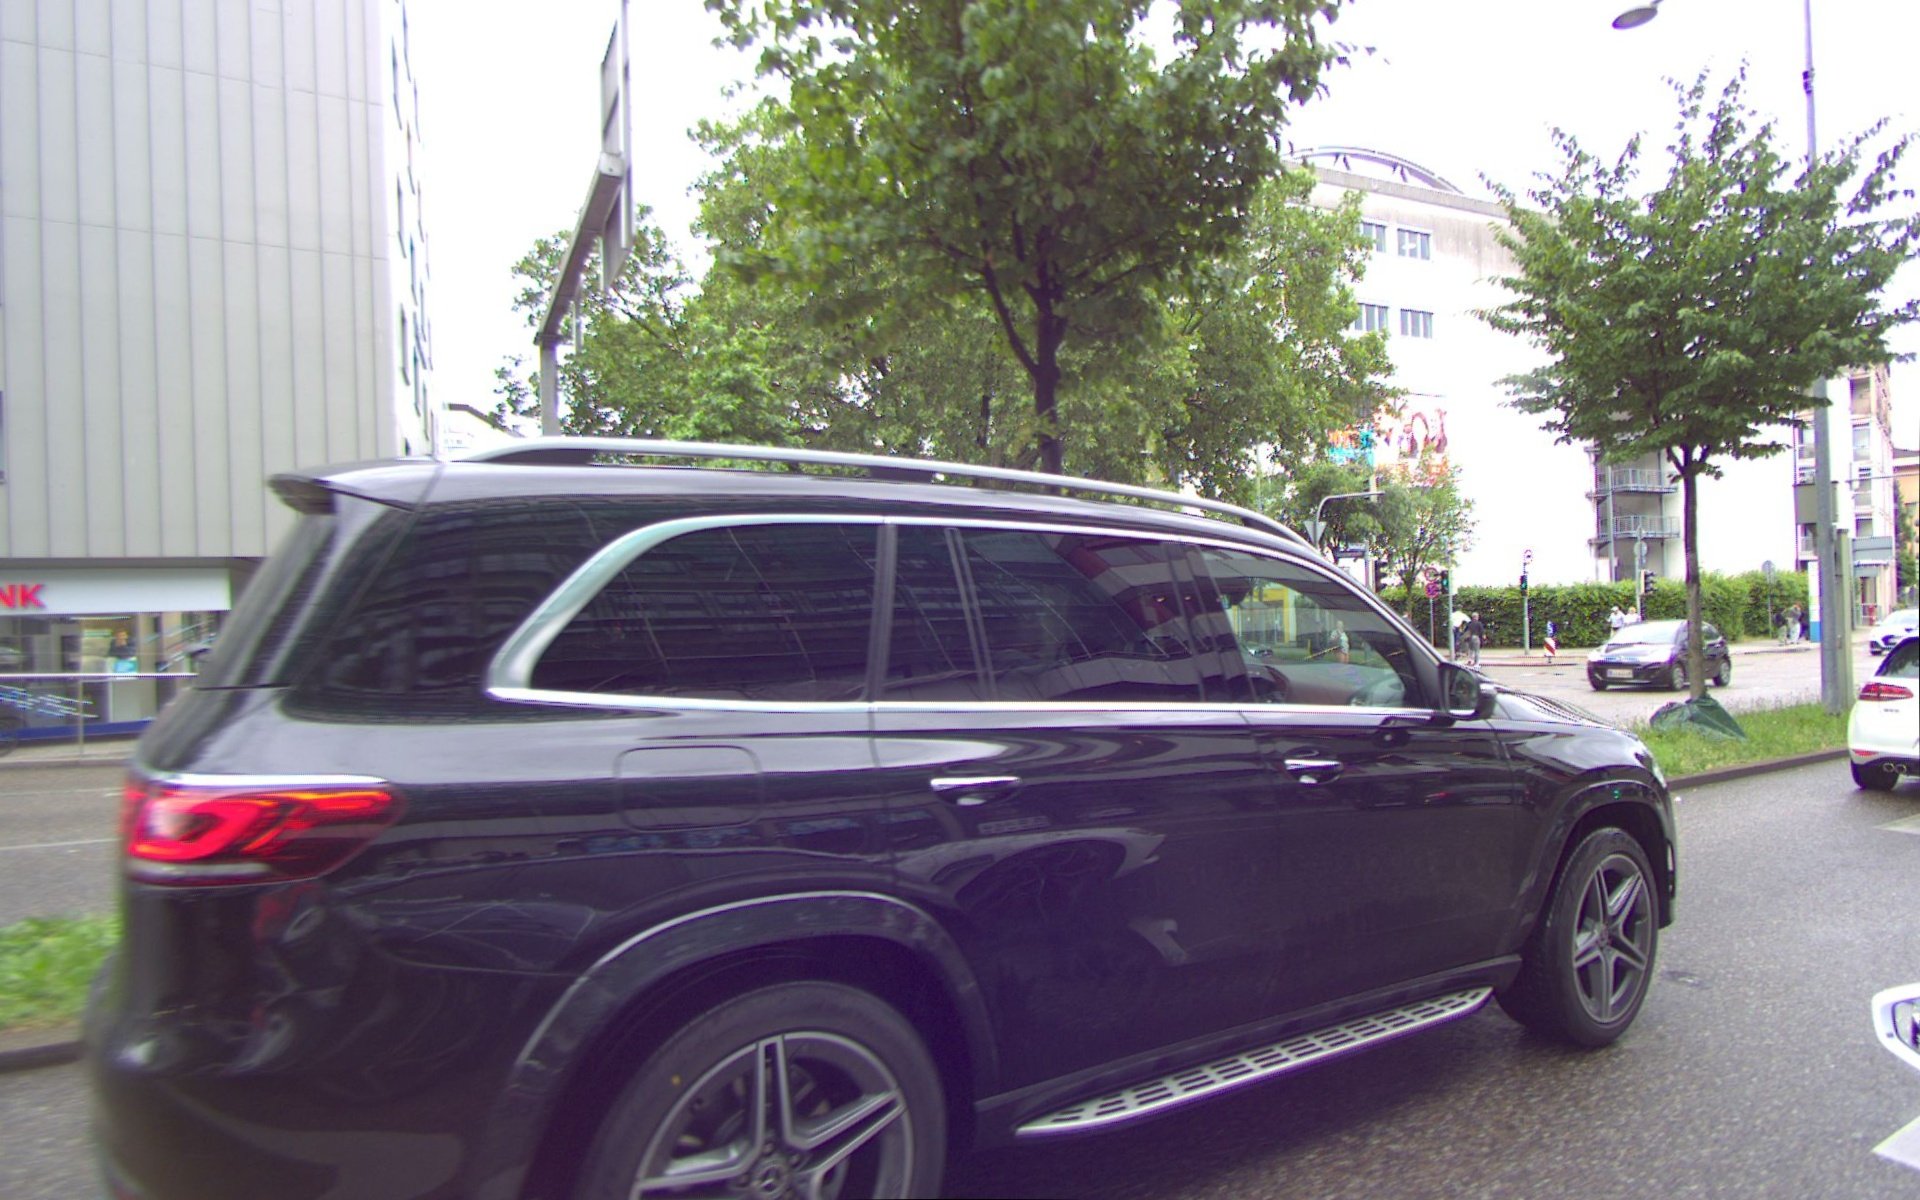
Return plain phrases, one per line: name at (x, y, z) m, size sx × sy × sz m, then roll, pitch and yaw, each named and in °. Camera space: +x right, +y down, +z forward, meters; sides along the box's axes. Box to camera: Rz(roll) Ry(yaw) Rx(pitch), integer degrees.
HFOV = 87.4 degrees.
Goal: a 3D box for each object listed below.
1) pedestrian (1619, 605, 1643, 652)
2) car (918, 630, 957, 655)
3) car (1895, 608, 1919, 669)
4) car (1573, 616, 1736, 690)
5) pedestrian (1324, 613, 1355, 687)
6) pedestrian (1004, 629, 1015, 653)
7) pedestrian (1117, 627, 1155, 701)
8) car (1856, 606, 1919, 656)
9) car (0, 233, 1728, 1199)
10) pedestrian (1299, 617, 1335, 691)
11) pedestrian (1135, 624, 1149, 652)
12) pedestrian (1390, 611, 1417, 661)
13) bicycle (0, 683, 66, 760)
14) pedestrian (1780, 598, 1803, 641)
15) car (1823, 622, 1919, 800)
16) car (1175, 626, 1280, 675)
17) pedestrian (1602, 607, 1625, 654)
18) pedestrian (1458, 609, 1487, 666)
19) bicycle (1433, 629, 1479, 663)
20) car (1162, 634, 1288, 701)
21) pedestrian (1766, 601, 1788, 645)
pedestrian at (25.927, 1.100, 38.802) m, size 0.586 × 1.788 × 0.523 m, roll 0°, pitch 2°, yaw -34°
car at (-1.650, 3.116, 74.945) m, size 1.906 × 1.684 × 3.876 m, roll 2°, pitch 0°, yaw 14°
car at (25.209, 0.930, 25.145) m, size 3.915 × 1.498 × 1.704 m, roll 1°, pitch -4°, yaw -33°
car at (15.612, 1.167, 22.545) m, size 3.837 × 1.510 × 1.610 m, roll 0°, pitch -4°, yaw -33°
pedestrian at (9.666, 1.279, 25.589) m, size 0.670 × 1.861 × 0.443 m, roll 2°, pitch -3°, yaw -37°
pedestrian at (3.405, 2.801, 69.215) m, size 0.522 × 1.621 × 0.555 m, roll -1°, pitch -1°, yaw -26°
pedestrian at (4.682, 1.685, 26.714) m, size 0.844 × 1.931 × 0.827 m, roll 1°, pitch -2°, yaw -1°
car at (31.087, 0.988, 32.875) m, size 3.603 × 1.535 × 1.663 m, roll 0°, pitch -3°, yaw -32°
car at (0.333, 0.521, 3.375) m, size 4.832 × 1.801 × 1.983 m, roll 2°, pitch -1°, yaw -32°
pedestrian at (8.866, 1.328, 24.922) m, size 0.408 × 1.787 × 0.670 m, roll -3°, pitch 0°, yaw -33°
pedestrian at (10.388, 2.160, 57.245) m, size 0.522 × 1.621 × 0.555 m, roll -1°, pitch -1°, yaw -26°
pedestrian at (16.102, 1.308, 36.499) m, size 0.778 × 1.804 × 0.653 m, roll 0°, pitch -2°, yaw 13°
bicycle at (-17.661, 2.189, 17.856) m, size 2.544 × 1.282 × 0.682 m, roll 0°, pitch 0°, yaw -30°
pedestrian at (34.951, 0.827, 42.222) m, size 0.587 × 1.787 × 0.637 m, roll 2°, pitch -3°, yaw -35°
car at (9.598, 0.938, 8.996) m, size 3.956 × 1.428 × 1.755 m, roll 1°, pitch 1°, yaw -32°
car at (10.130, 1.920, 38.190) m, size 1.623 × 1.718 × 3.561 m, roll -2°, pitch -1°, yaw -40°
pedestrian at (25.524, 1.194, 39.237) m, size 0.586 × 1.788 × 0.523 m, roll -1°, pitch 2°, yaw -34°
pedestrian at (16.495, 1.209, 32.354) m, size 0.587 × 1.787 × 0.642 m, roll 2°, pitch -3°, yaw -36°
bicycle at (18.021, 1.654, 36.457) m, size 2.039 × 1.125 × 0.645 m, roll -1°, pitch -1°, yaw -38°
car at (6.213, 1.573, 24.090) m, size 1.895 × 1.414 × 4.428 m, roll -1°, pitch -3°, yaw 1°
pedestrian at (33.584, 0.942, 41.296) m, size 0.624 × 1.787 × 0.523 m, roll 2°, pitch -3°, yaw -36°
